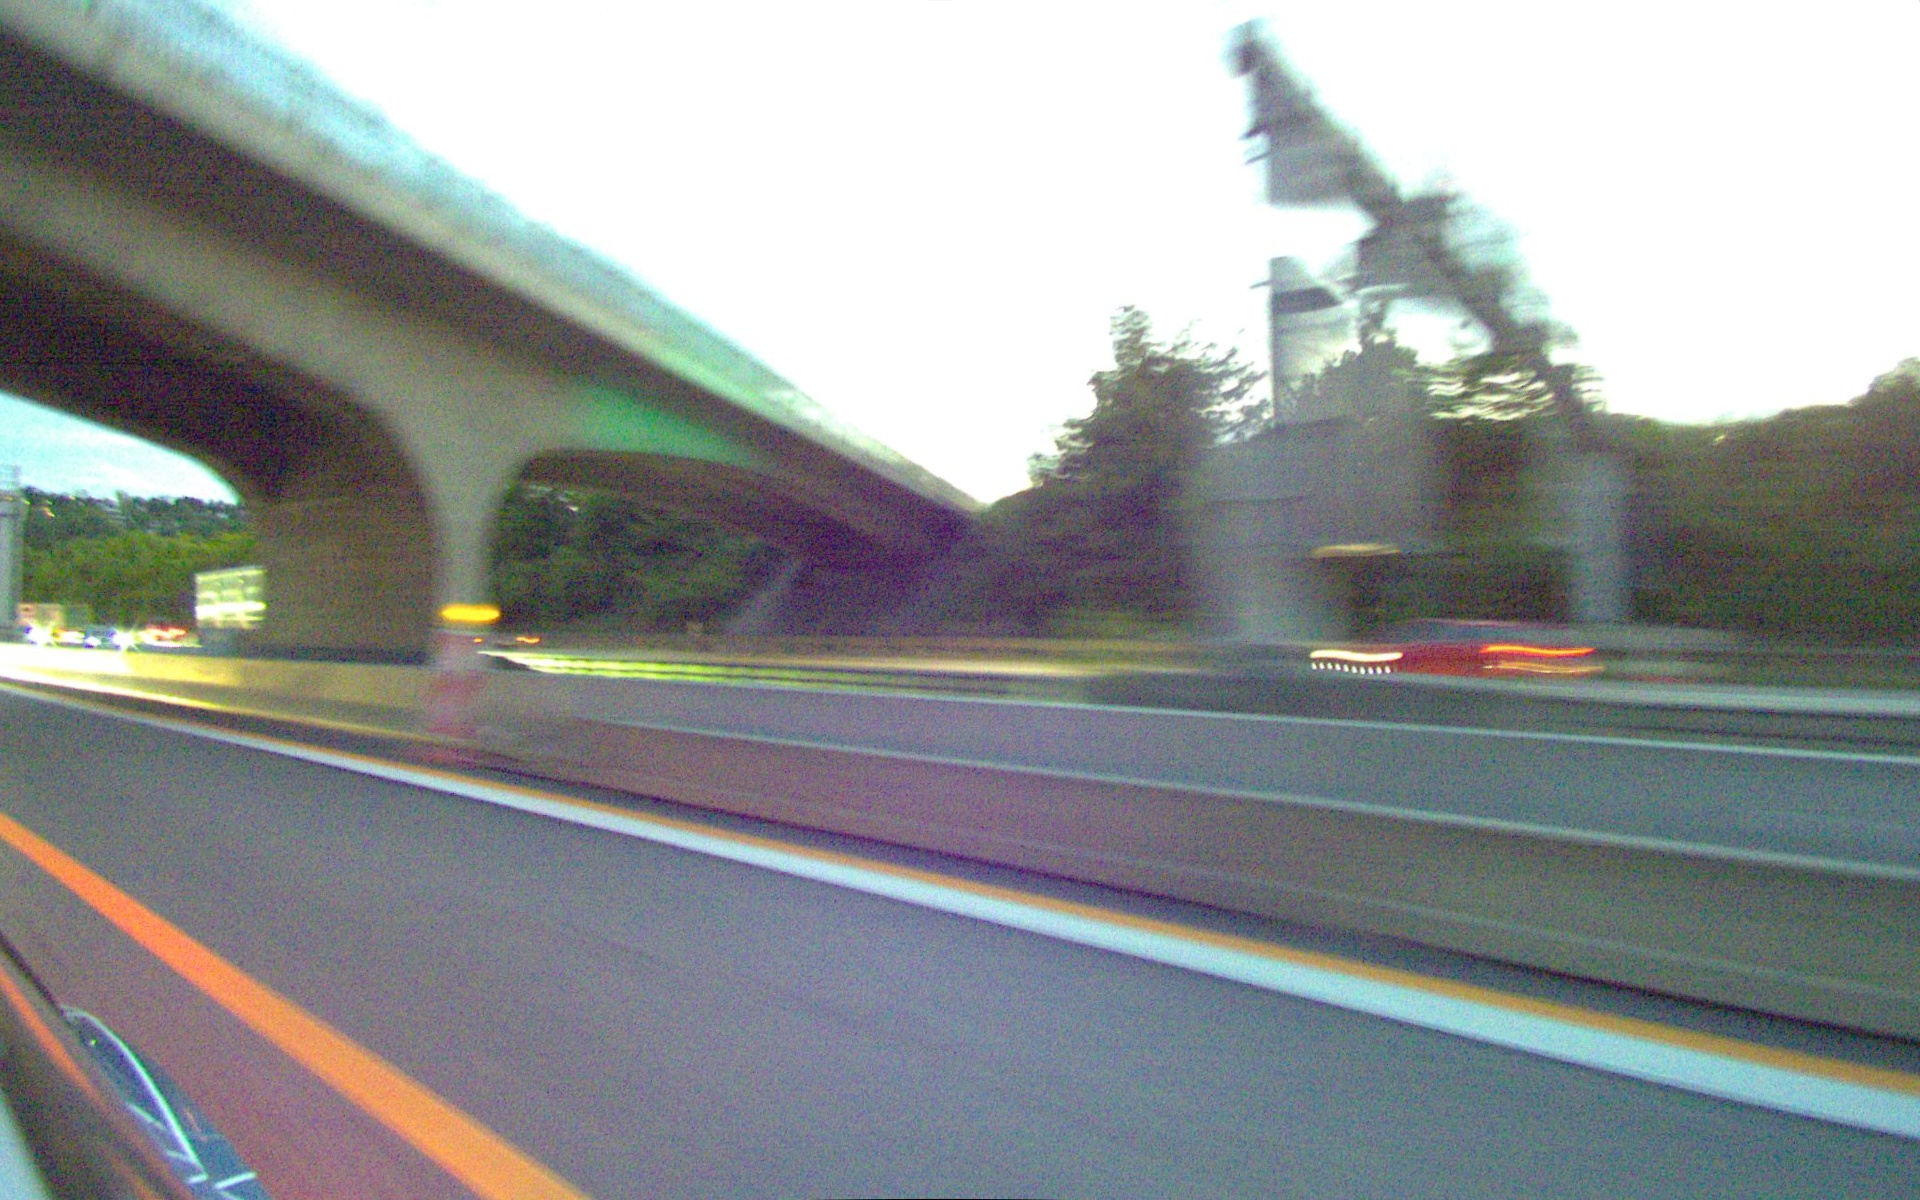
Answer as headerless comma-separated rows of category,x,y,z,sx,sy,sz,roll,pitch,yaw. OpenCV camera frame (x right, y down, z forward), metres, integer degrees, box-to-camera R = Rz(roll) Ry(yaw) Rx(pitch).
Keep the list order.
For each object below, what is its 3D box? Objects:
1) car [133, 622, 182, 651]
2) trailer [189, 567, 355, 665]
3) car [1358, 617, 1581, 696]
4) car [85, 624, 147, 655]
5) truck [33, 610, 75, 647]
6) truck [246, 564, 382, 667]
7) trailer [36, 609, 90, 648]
car,-63.691,2.853,80.284,4.795,2.206,1.975,-1,0,38
trailer,-30.300,0.700,44.257,11.824,3.811,2.771,-1,0,40
car,10.744,1.128,21.465,3.927,1.466,1.685,-1,0,40
car,-54.953,2.539,65.859,4.693,1.898,2.071,-1,0,37
truck,-106.567,3.296,119.017,6.380,4.202,2.749,-1,0,40
truck,-26.046,0.597,40.715,6.297,3.803,2.775,-1,0,40
trailer,-102.807,3.230,115.881,12.391,4.237,2.751,-1,0,40
